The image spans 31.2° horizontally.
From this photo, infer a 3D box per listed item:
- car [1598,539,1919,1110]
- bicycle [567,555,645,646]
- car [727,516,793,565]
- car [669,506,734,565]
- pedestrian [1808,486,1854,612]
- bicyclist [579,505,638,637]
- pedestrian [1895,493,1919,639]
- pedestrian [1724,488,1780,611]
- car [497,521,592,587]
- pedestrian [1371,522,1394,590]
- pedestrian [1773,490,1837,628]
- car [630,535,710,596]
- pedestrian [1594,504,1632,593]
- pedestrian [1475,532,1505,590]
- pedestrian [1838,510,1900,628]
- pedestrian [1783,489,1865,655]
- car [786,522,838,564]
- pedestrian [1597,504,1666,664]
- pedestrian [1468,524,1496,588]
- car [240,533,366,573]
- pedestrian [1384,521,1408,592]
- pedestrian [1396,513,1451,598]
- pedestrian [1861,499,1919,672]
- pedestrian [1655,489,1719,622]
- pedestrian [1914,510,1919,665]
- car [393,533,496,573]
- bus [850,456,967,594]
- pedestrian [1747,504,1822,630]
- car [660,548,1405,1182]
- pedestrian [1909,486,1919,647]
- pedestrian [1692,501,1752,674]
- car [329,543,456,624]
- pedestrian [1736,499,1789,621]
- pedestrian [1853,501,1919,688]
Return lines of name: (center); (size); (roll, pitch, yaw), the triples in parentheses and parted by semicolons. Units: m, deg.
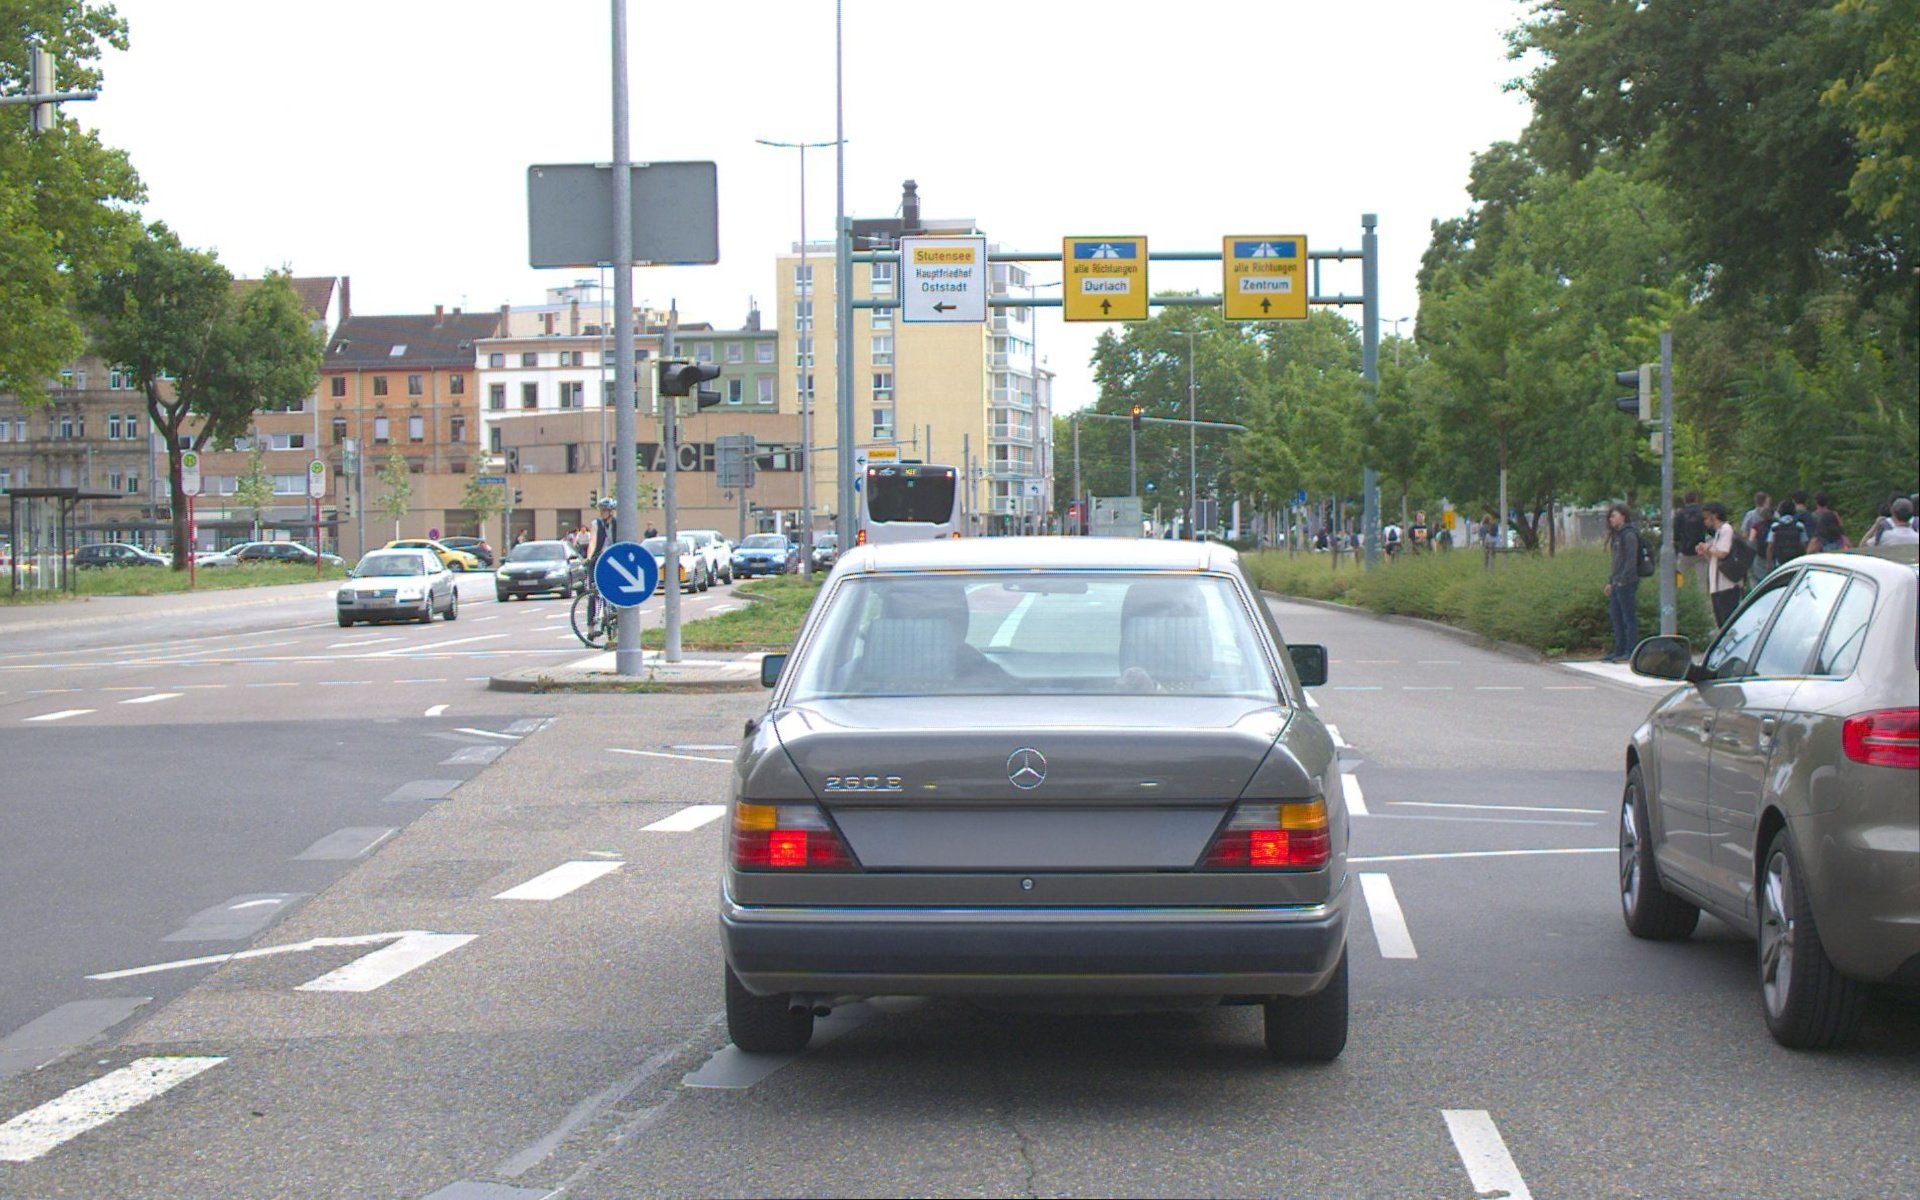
car: (3.168, 0.541, 10.659); (1.724, 1.452, 3.736); (0, 1, 1)
bicycle: (-4.257, -0.007, 41.431); (0.573, 1.052, 1.926); (0, 1, 5)
car: (-6.339, -1.888, 109.481); (1.801, 1.506, 4.104); (0, 1, 1)
car: (-9.090, -2.261, 121.057); (1.941, 2.007, 4.000); (0, 1, 0)
pedestrian: (12.266, -0.726, 48.430); (0.484, 1.757, 0.664); (-1, 1, 2)
bicyclist: (-4.223, -0.350, 41.359); (0.572, 1.568, 0.699); (0, 1, 6)
pedestrian: (11.409, -0.406, 40.279); (0.656, 1.683, 0.842); (-1, 1, 0)
pedestrian: (11.287, -0.718, 48.997); (0.619, 1.729, 0.814); (-1, 1, 2)
car: (-10.547, -1.185, 87.503); (1.897, 1.610, 4.745); (0, 1, -1)
pedestrian: (12.511, -1.297, 101.778); (0.614, 2.007, 0.597); (0, 1, 0)
pedestrian: (11.289, -0.554, 45.937); (0.656, 1.815, 0.812); (-1, 1, 2)
car: (-7.368, -0.900, 87.746); (1.801, 1.484, 4.289); (0, 1, -2)
pedestrian: (12.350, -0.972, 65.002); (0.587, 1.677, 0.748); (-1, 1, 2)
pedestrian: (13.400, -0.989, 86.916); (0.657, 1.465, 0.561); (0, 1, 19)
pedestrian: (12.315, -0.430, 46.578); (0.635, 1.578, 0.785); (-1, 1, 2)
pedestrian: (9.214, -0.302, 36.686); (0.656, 1.739, 0.780); (-1, 1, 0)
car: (-5.507, -2.147, 128.398); (1.572, 1.484, 3.636); (-3, 1, 3)
pedestrian: (7.295, -0.178, 37.360); (0.601, 1.729, 0.654); (0, 1, -1)
pedestrian: (13.874, -1.169, 91.303); (0.647, 1.707, 0.561); (0, 1, 17)
car: (-25.809, -1.862, 135.167); (4.668, 1.470, 1.661); (1, 1, -3)
pedestrian: (12.225, -1.220, 96.399); (0.614, 2.007, 0.597); (0, 1, 0)
pedestrian: (10.135, -0.976, 75.171); (0.935, 1.824, 0.885); (0, 1, 29)
pedestrian: (9.616, -0.151, 35.070); (0.624, 1.739, 0.780); (-1, 1, 0)
pedestrian: (10.052, -0.619, 47.549); (0.693, 1.815, 0.954); (-1, 1, 2)
pedestrian: (11.220, -0.145, 38.643); (0.656, 1.760, 0.958); (-2, 1, 0)
car: (-20.350, -1.842, 135.752); (3.856, 1.512, 1.661); (1, 1, -3)
bus: (-1.292, -1.914, 88.201); (2.831, 3.379, 8.183); (0, 1, 0)
pedestrian: (10.648, -0.428, 44.405); (0.775, 1.597, 0.812); (-1, 1, 2)
car: (0.195, 0.600, 10.254); (1.761, 1.484, 4.171); (0, 1, 1)
pedestrian: (10.637, -0.363, 37.033); (0.581, 1.739, 0.790); (-1, 1, 0)
pedestrian: (7.709, -0.133, 34.790); (0.454, 1.729, 0.637); (0, 1, -1)
car: (-10.820, -0.342, 65.762); (1.761, 1.484, 4.546); (0, 1, -1)
pedestrian: (10.990, -0.547, 47.093); (0.555, 1.649, 0.753); (-1, 1, 2)
pedestrian: (8.481, -0.053, 31.276); (0.545, 1.681, 0.637); (0, 1, -1)
